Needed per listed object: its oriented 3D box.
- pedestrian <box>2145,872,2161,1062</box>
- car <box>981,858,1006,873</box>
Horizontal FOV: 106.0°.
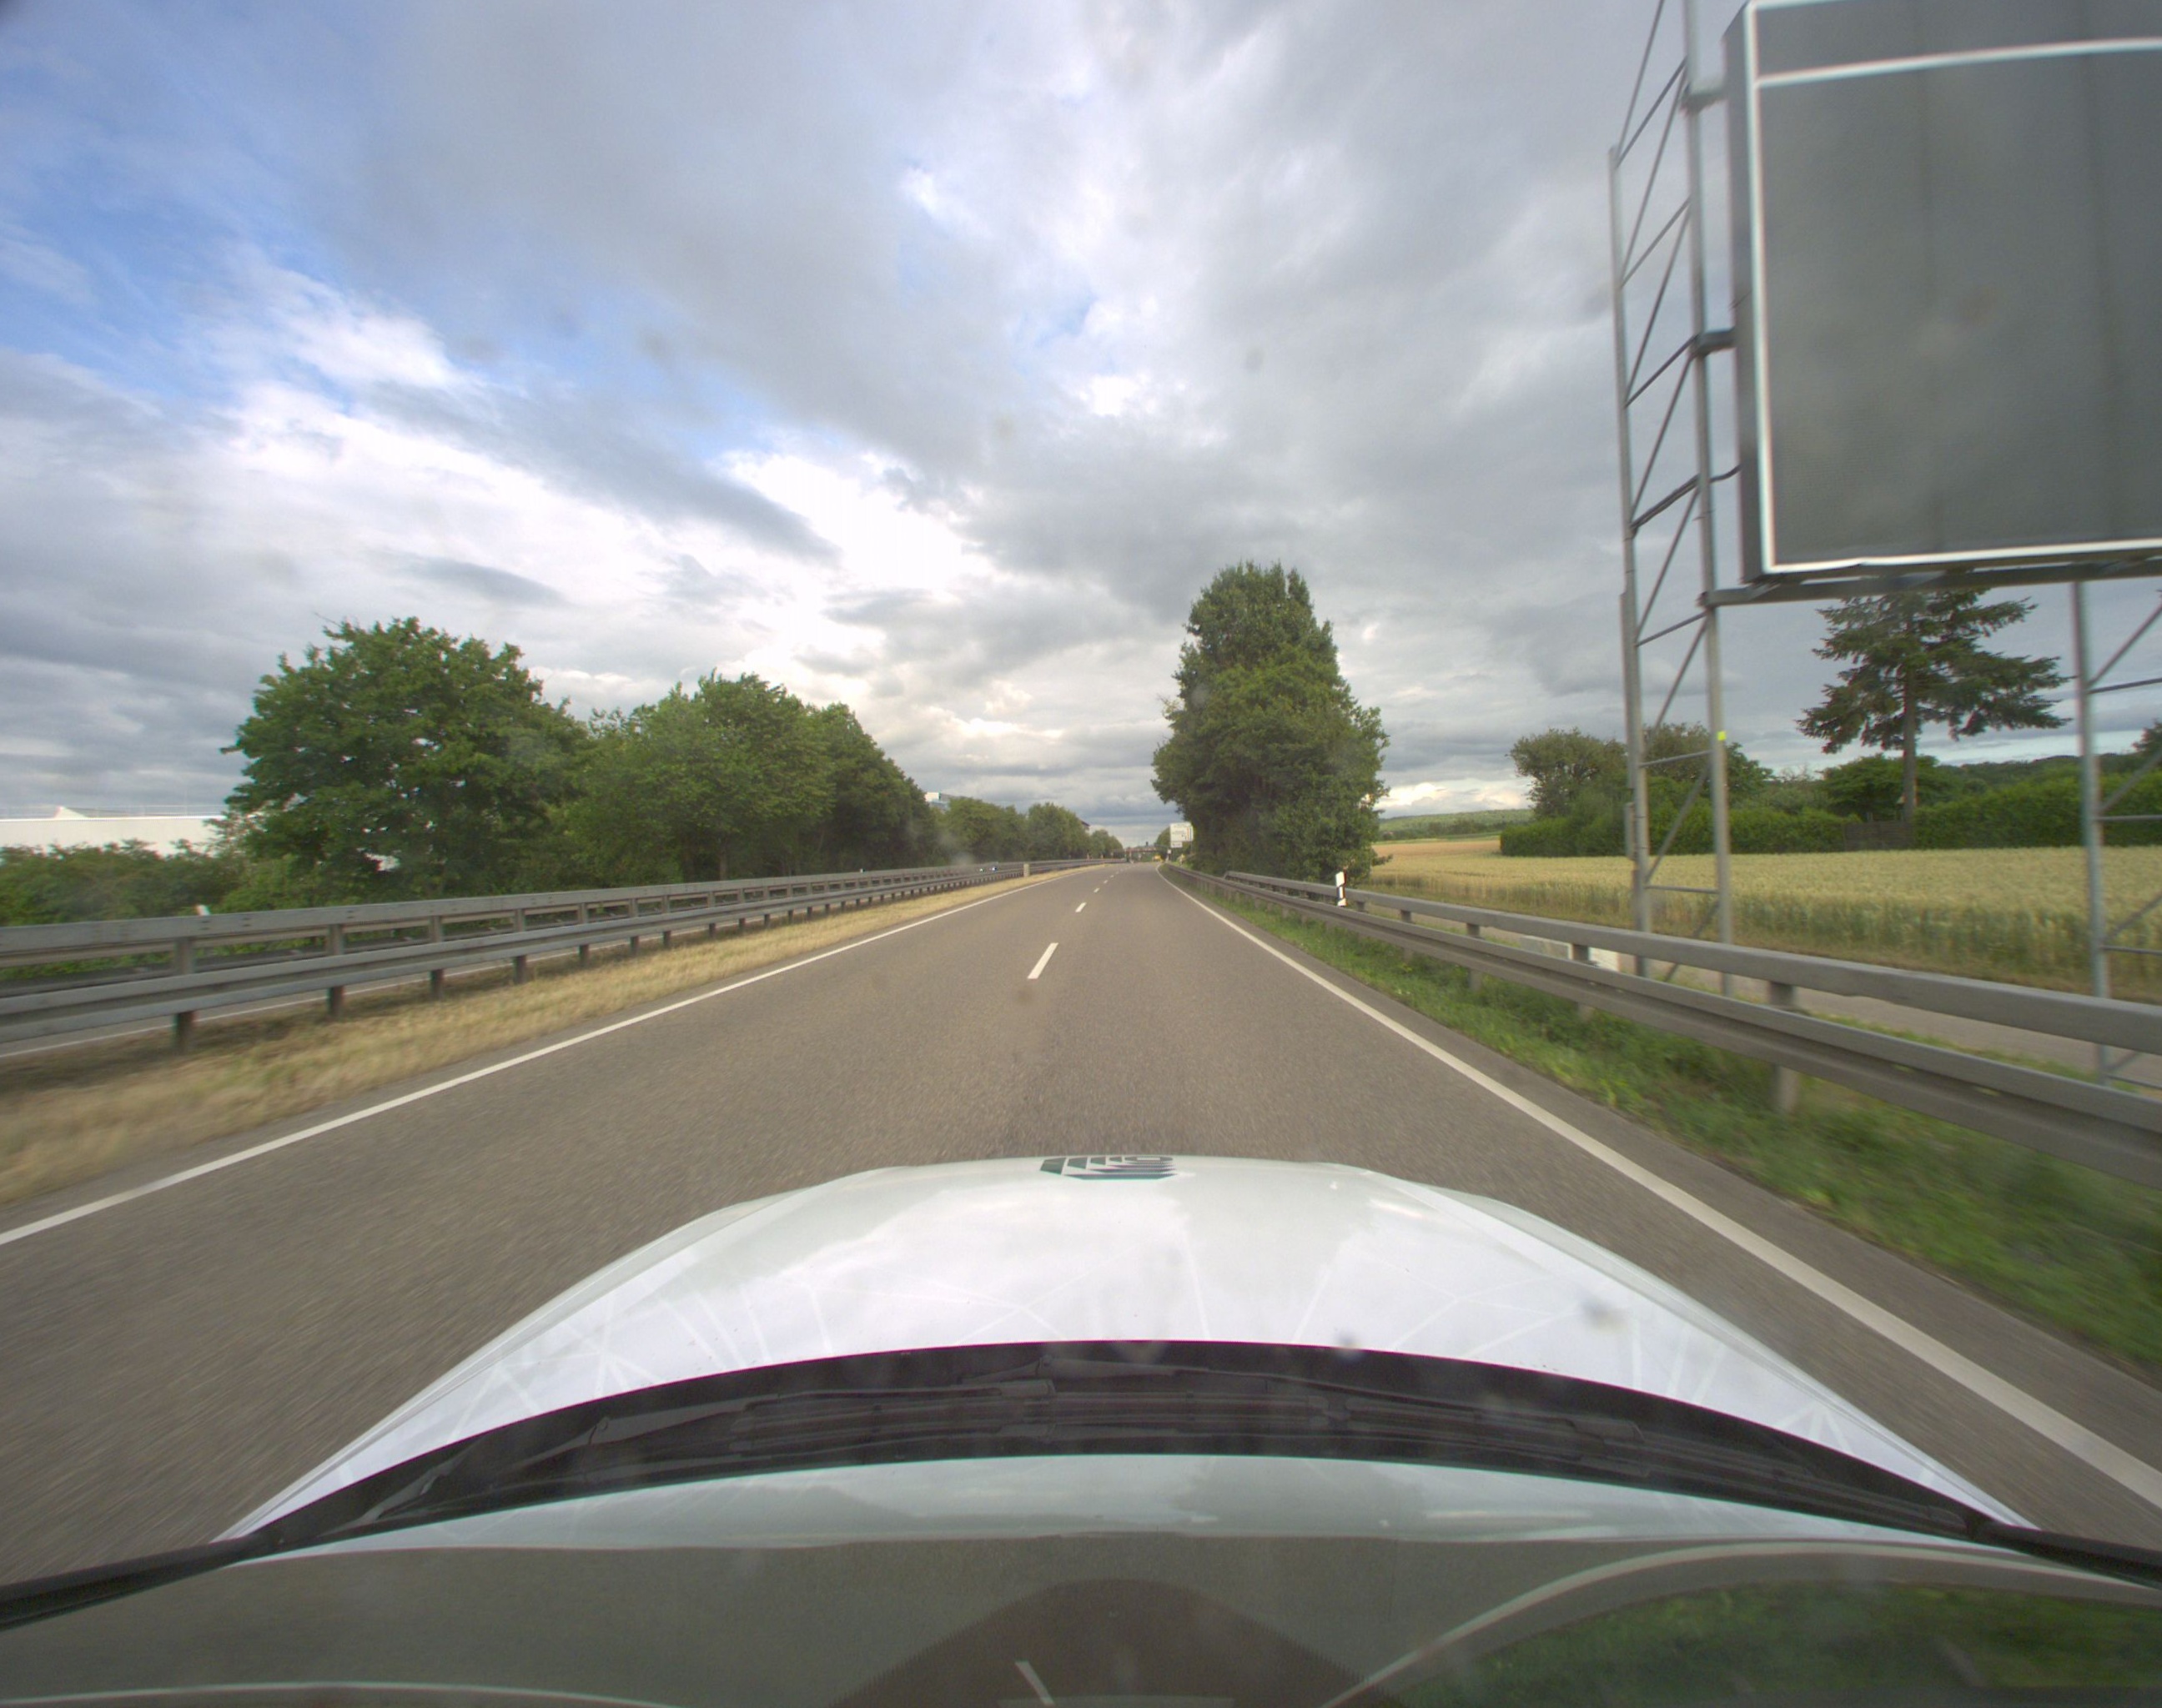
[{"bbox_3d":[11.045,1.113,7.684,0.768,1.868,0.940,0,-1,1],"label":"pedestrian"},{"bbox_3d":[-9.426,1.222,88.203,1.817,1.544,4.591,-3,-1,4],"label":"car"}]
